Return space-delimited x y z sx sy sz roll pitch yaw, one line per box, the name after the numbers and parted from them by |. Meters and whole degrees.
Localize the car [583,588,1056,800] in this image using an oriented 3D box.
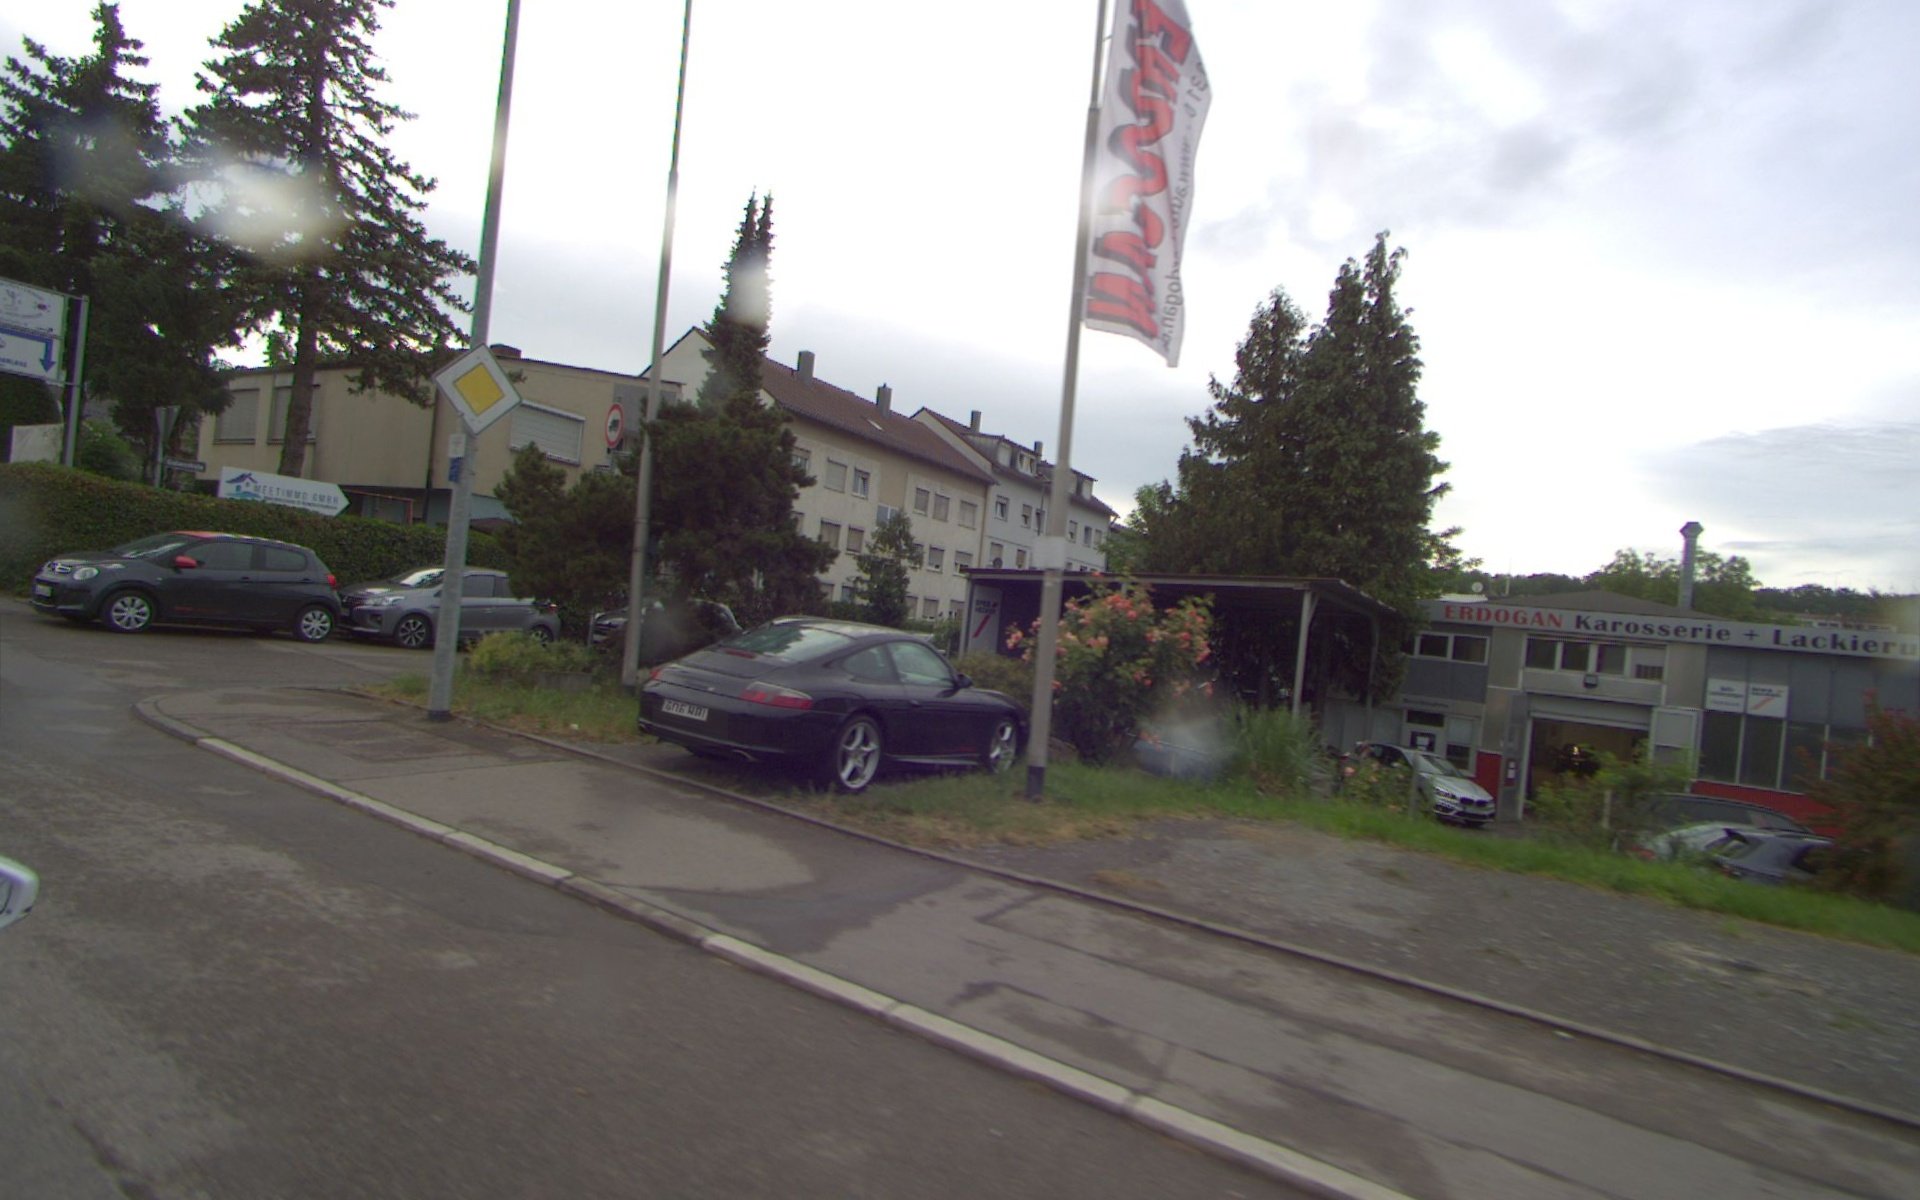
-0.982 0.847 8.943 1.919 1.280 3.994 6 -3 33 | car

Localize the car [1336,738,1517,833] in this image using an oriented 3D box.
11.255 4.459 24.603 1.826 1.522 3.955 8 -3 -14 | car

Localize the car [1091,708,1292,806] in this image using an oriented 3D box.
4.551 3.016 19.768 3.494 1.280 1.590 6 -2 25 | car

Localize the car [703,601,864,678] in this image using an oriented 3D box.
-4.451 1.067 25.964 1.966 1.492 3.844 6 -3 30 | car

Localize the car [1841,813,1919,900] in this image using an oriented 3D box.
21.579 5.767 21.734 3.469 1.521 1.667 6 -2 31 | car

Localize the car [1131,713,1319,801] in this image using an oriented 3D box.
5.900 3.413 22.336 3.725 1.248 1.819 6 -2 23 | car

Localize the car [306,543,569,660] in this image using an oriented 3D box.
-9.160 0.097 17.917 1.828 1.556 3.623 6 -3 30 | car

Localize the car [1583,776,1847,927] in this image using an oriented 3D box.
12.573 4.136 17.020 3.226 1.672 1.645 6 -2 29 | car

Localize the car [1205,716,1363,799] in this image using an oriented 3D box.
7.948 3.798 24.633 3.417 1.391 1.731 6 -2 23 | car

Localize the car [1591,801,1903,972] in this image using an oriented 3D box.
11.263 4.051 14.698 3.226 1.492 1.709 6 -2 29 | car

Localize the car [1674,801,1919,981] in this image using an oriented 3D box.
10.757 3.535 12.113 3.226 1.492 1.622 6 -2 29 | car

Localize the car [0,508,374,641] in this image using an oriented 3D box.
-11.014 -0.290 14.444 1.918 1.280 3.997 6 -3 30 | car

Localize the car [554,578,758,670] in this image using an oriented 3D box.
-6.584 0.585 22.199 1.911 1.525 3.954 6 -3 30 | car

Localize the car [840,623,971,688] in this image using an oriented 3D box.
-1.568 1.723 30.430 1.923 1.513 4.065 6 -3 30 | car
